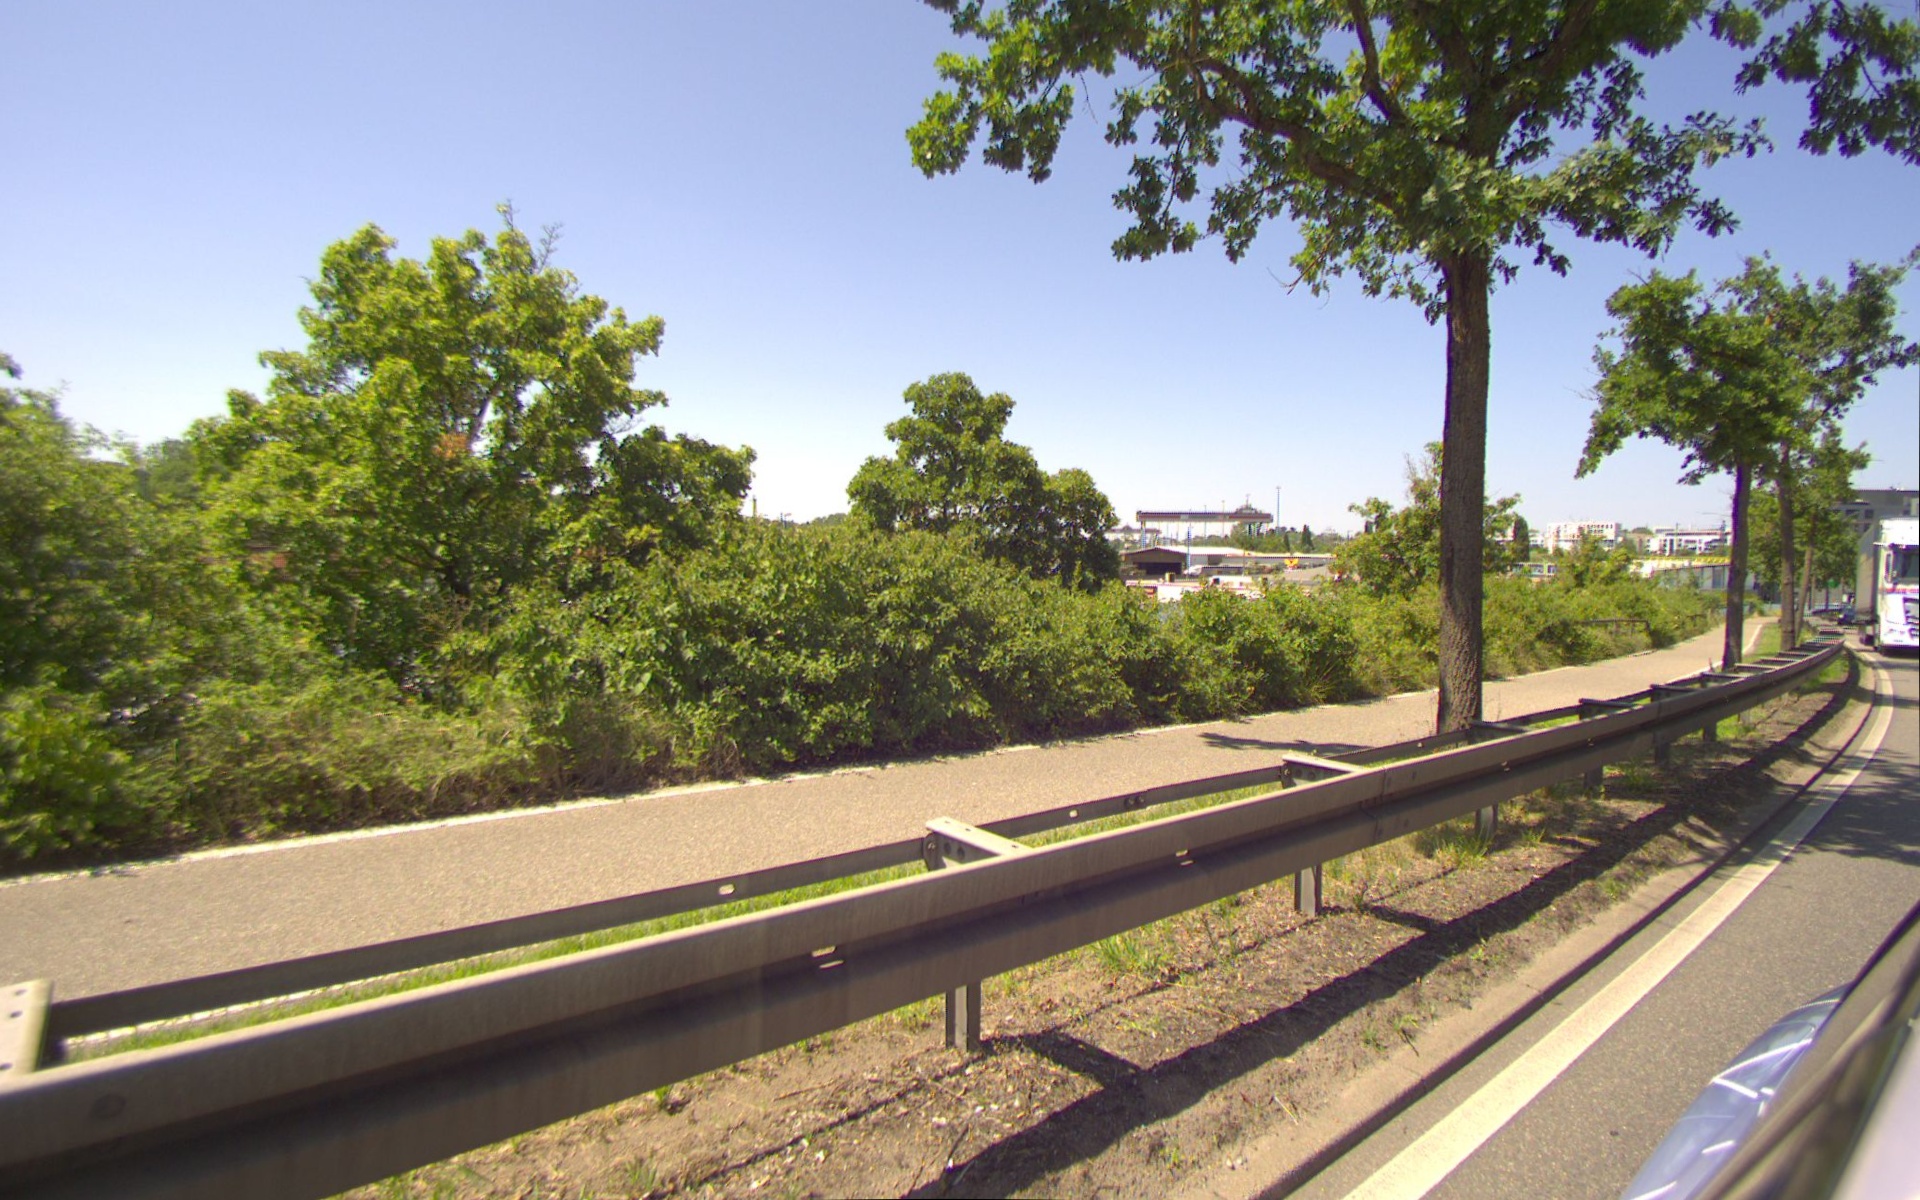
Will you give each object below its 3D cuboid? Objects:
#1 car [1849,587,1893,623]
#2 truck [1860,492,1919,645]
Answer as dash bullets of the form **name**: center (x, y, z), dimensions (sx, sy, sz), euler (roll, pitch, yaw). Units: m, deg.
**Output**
- **car**: center (53.373, 0.261, 59.319), dimensions (1.773, 2.039, 3.941), euler (0, 0, 40)
- **truck**: center (32.334, -0.915, 33.675), dimensions (3.059, 4.223, 16.666), euler (0, 0, 40)
